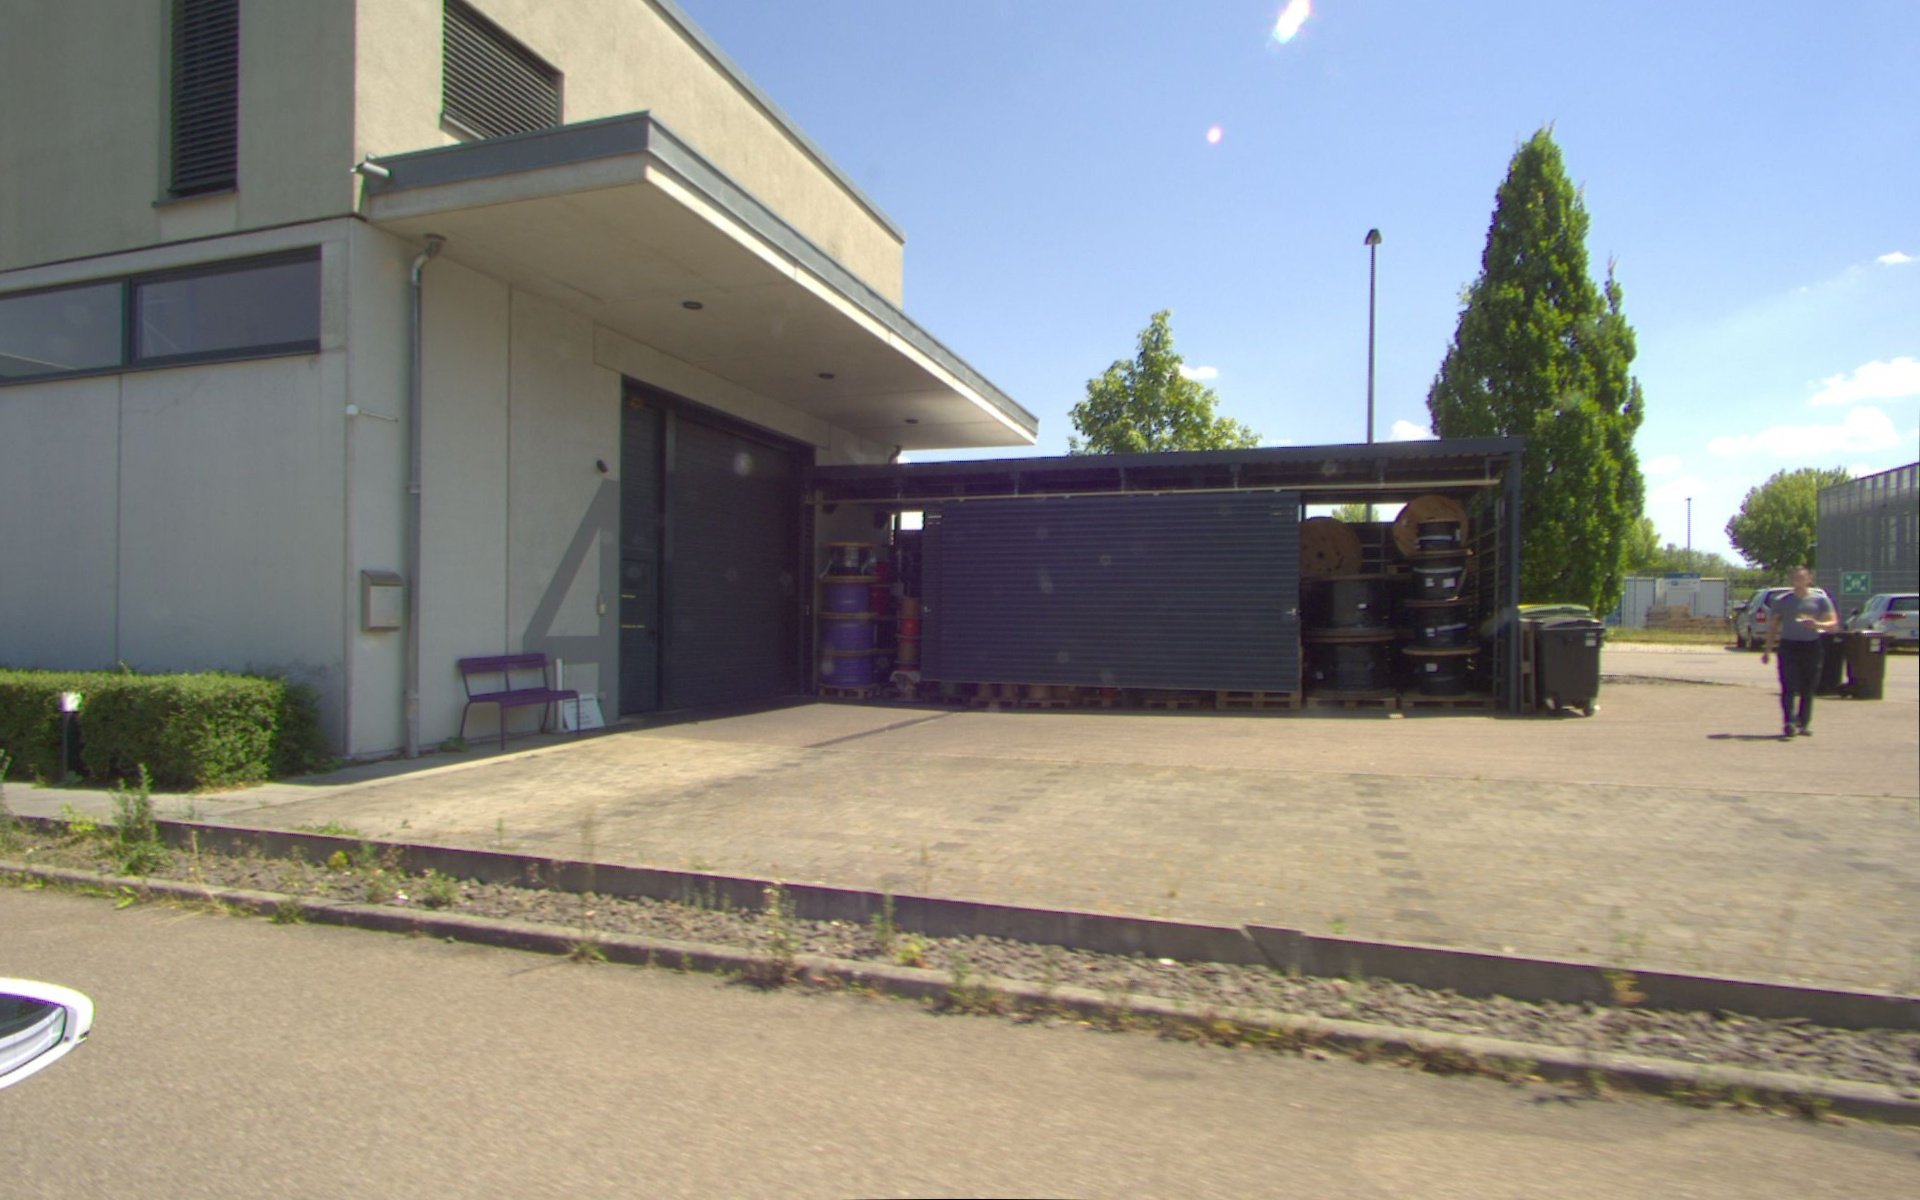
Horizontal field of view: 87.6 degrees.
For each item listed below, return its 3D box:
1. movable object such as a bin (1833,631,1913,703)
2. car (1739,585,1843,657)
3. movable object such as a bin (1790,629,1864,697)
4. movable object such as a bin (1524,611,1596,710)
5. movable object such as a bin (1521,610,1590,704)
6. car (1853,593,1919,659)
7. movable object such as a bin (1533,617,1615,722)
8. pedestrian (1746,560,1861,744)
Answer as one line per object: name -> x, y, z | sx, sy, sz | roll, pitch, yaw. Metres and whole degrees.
movable object such as a bin -> 12.327, 0.898, 13.537 | 0.537, 0.929, 0.585 | -1, 0, -6
car -> 21.628, 0.511, 26.183 | 1.827, 1.728, 3.973 | 0, 0, 36
movable object such as a bin -> 12.274, 0.879, 14.185 | 0.537, 0.929, 0.585 | -1, 0, -6
movable object such as a bin -> 8.299, 0.817, 13.875 | 0.789, 1.315, 0.753 | -1, 0, 27
movable object such as a bin -> 8.690, 0.811, 14.640 | 0.789, 1.315, 0.807 | -1, 0, 27
car -> 23.515, 0.596, 24.698 | 1.827, 1.517, 3.974 | 0, 0, 36
movable object such as a bin -> 7.771, 0.854, 12.710 | 0.789, 1.266, 0.873 | -1, 0, 27
pedestrian -> 8.676, 0.518, 10.304 | 0.760, 1.792, 0.802 | -1, 0, -41
